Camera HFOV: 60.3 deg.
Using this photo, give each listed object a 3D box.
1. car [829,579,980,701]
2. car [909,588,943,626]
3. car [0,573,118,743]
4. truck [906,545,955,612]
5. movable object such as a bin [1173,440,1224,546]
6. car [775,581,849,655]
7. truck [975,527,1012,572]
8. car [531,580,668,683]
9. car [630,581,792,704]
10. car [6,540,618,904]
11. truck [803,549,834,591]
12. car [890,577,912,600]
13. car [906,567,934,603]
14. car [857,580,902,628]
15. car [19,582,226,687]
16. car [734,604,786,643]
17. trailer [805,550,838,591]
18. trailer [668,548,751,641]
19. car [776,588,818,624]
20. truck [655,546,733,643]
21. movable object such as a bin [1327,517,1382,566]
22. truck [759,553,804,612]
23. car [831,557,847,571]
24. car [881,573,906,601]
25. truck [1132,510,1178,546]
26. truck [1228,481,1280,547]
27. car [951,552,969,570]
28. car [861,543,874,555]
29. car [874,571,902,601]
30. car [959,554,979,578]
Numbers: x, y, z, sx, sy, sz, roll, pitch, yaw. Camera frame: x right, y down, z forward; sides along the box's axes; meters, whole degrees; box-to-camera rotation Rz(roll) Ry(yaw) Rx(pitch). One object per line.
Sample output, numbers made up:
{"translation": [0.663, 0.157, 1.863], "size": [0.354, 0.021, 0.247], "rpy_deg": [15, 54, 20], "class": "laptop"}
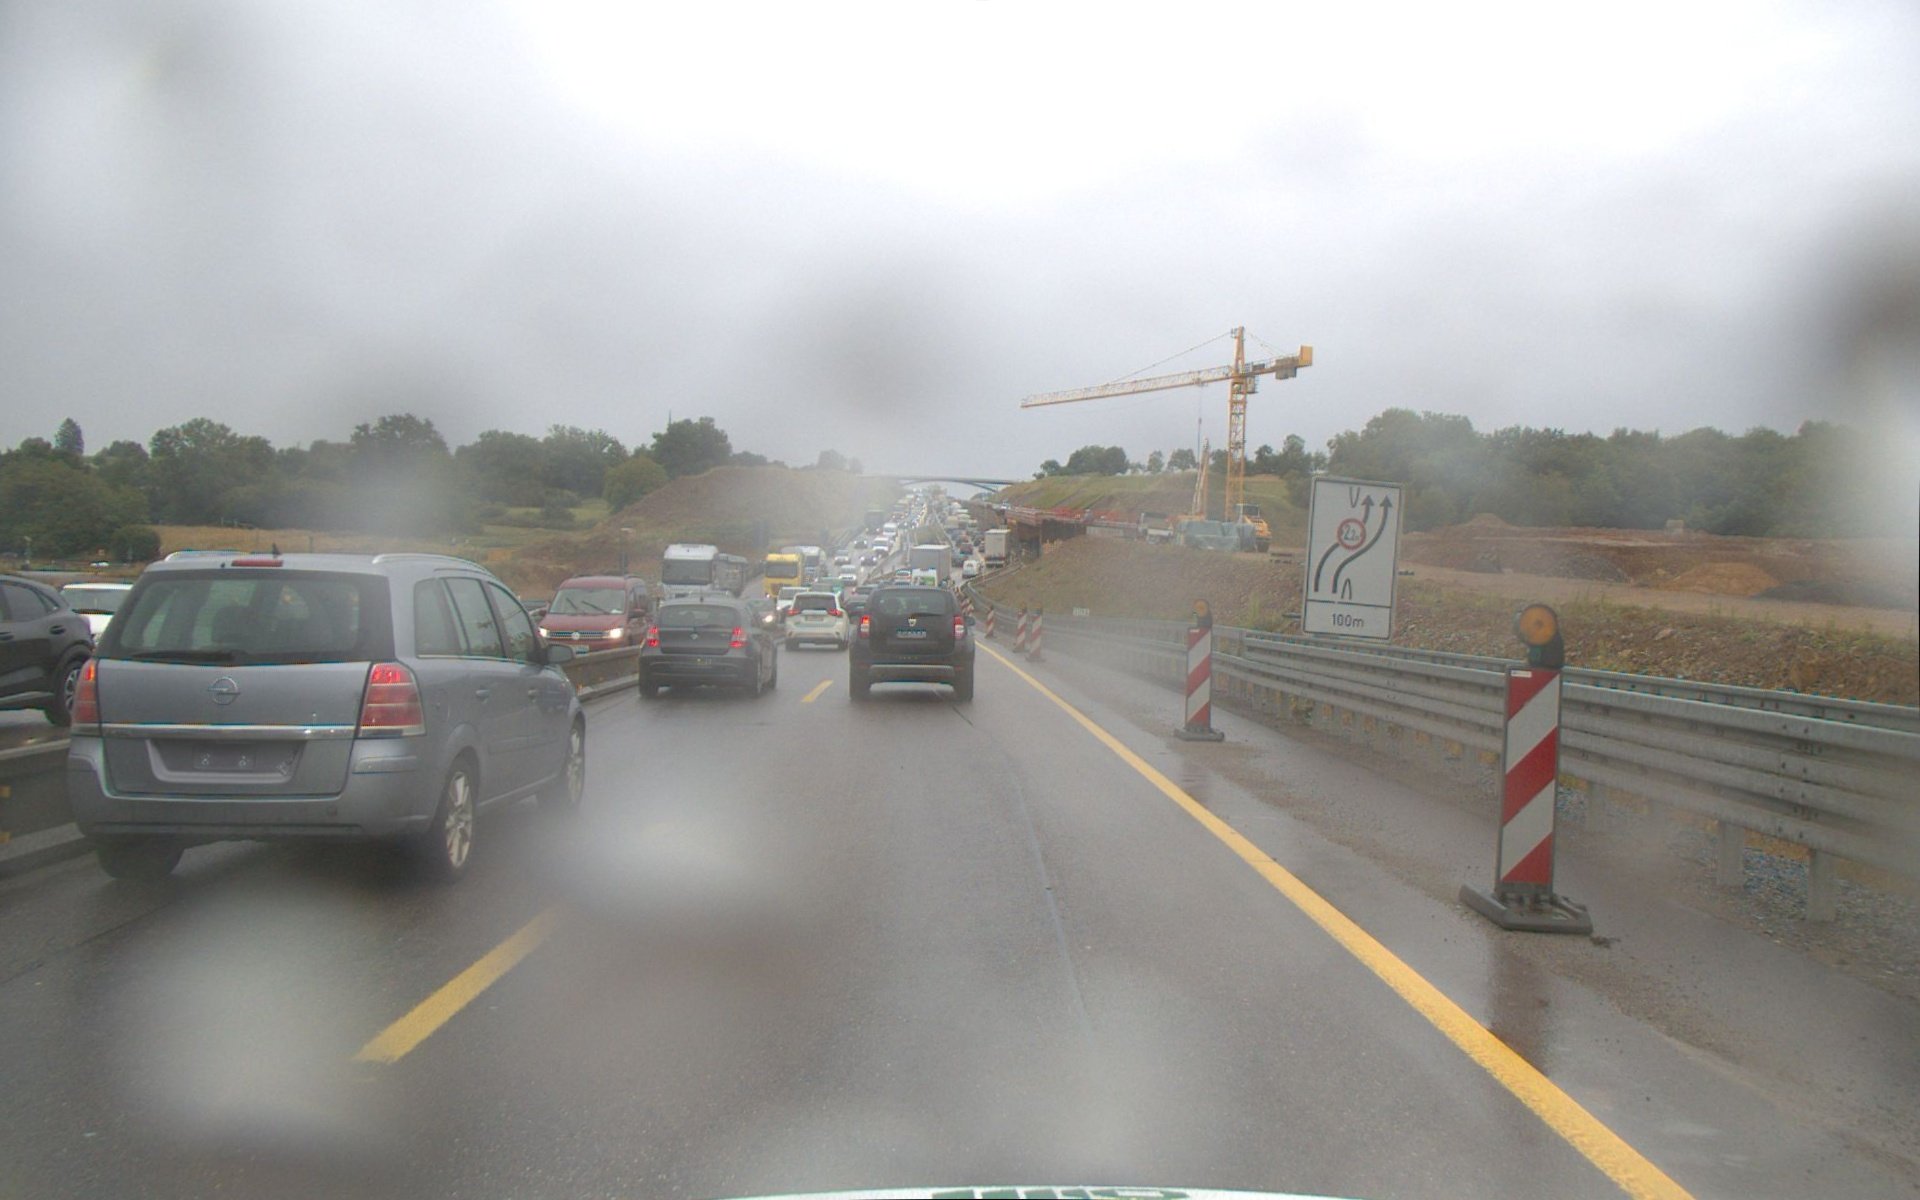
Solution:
{"translation": [-0.787, 0.546, 24.743], "size": [2.039, 1.628, 4.140], "rpy_deg": [1, 0, -1], "class": "car"}
{"translation": [-2.054, 0.420, 98.668], "size": [1.953, 2.200, 4.139], "rpy_deg": [1, 0, -2], "class": "car"}
{"translation": [-9.685, 0.530, 15.378], "size": [1.784, 1.523, 3.999], "rpy_deg": [1, 1, -2], "class": "car"}
{"translation": [-2.529, -1.817, 143.421], "size": [3.036, 5.521, 9.449], "rpy_deg": [1, 0, 6], "class": "truck"}
{"translation": [26.352, -11.648, 182.459], "size": [4.618, 11.031, 10.312], "rpy_deg": [1, 0, 13], "class": "movable object such as a bin"}
{"translation": [-4.304, 0.516, 48.657], "size": [1.953, 2.049, 3.892], "rpy_deg": [1, 0, -2], "class": "car"}
{"translation": [4.009, -6.073, 202.210], "size": [3.727, 5.130, 12.916], "rpy_deg": [1, 0, -2], "class": "truck"}
{"translation": [-6.934, 0.533, 32.276], "size": [1.809, 1.778, 4.842], "rpy_deg": [-1, 1, -3], "class": "car"}
{"translation": [-3.591, 0.574, 24.537], "size": [1.954, 1.628, 4.138], "rpy_deg": [1, 0, -3], "class": "car"}
{"translation": [-3.383, 0.557, 9.625], "size": [1.953, 1.628, 4.140], "rpy_deg": [1, 0, -1], "class": "car"}
{"translation": [-13.045, -2.760, 152.874], "size": [2.568, 3.742, 6.592], "rpy_deg": [1, 0, -2], "class": "truck"}
{"translation": [-5.595, -1.088, 157.672], "size": [1.953, 2.200, 4.139], "rpy_deg": [1, 0, -1], "class": "car"}
{"translation": [-2.943, -1.095, 120.505], "size": [1.953, 2.527, 4.980], "rpy_deg": [1, 0, -2], "class": "car"}
{"translation": [-3.873, 0.176, 79.037], "size": [1.954, 2.200, 4.136], "rpy_deg": [1, 0, -5], "class": "car"}
{"translation": [-14.350, 0.532, 28.624], "size": [1.810, 1.604, 4.265], "rpy_deg": [-1, 1, -7], "class": "car"}
{"translation": [-7.928, 0.905, 65.818], "size": [1.675, 1.479, 3.999], "rpy_deg": [1, 0, -2], "class": "car"}
{"translation": [-13.262, -2.791, 158.655], "size": [2.568, 3.742, 11.998], "rpy_deg": [1, 0, -2], "class": "trailer"}
{"translation": [-11.571, -0.242, 77.129], "size": [2.631, 4.033, 9.816], "rpy_deg": [0, 0, -2], "class": "trailer"}
{"translation": [-8.662, 0.311, 88.086], "size": [1.837, 1.824, 5.357], "rpy_deg": [1, 0, -2], "class": "car"}
{"translation": [-11.384, -0.240, 71.249], "size": [2.632, 3.995, 5.272], "rpy_deg": [0, 0, -2], "class": "truck"}
{"translation": [31.500, -4.658, 132.283], "size": [2.295, 3.662, 6.554], "rpy_deg": [1, 0, -5], "class": "movable object such as a bin"}
{"translation": [-12.867, -1.225, 119.735], "size": [2.694, 4.133, 6.146], "rpy_deg": [1, 0, -2], "class": "truck"}
{"translation": [-14.516, -4.299, 198.205], "size": [1.752, 1.573, 3.999], "rpy_deg": [1, 1, -2], "class": "car"}
{"translation": [-5.398, -1.057, 134.496], "size": [1.953, 2.200, 4.139], "rpy_deg": [1, 0, -1], "class": "car"}
{"translation": [15.830, -5.832, 134.767], "size": [2.592, 2.599, 6.981], "rpy_deg": [1, 0, -2], "class": "truck"}
{"translation": [20.699, -6.009, 116.806], "size": [2.325, 4.292, 5.976], "rpy_deg": [1, 0, -2], "class": "truck"}
{"translation": [-0.014, -4.675, 198.621], "size": [1.953, 2.048, 3.999], "rpy_deg": [0, 2, -2], "class": "car"}
{"translation": [-13.371, -7.349, 239.477], "size": [1.751, 1.565, 4.310], "rpy_deg": [1, 1, -2], "class": "car"}
{"translation": [-5.416, -1.046, 124.370], "size": [1.953, 2.200, 4.139], "rpy_deg": [1, 0, -1], "class": "car"}
{"translation": [0.960, -3.619, 177.115], "size": [1.953, 2.527, 4.740], "rpy_deg": [1, 0, -1], "class": "car"}
